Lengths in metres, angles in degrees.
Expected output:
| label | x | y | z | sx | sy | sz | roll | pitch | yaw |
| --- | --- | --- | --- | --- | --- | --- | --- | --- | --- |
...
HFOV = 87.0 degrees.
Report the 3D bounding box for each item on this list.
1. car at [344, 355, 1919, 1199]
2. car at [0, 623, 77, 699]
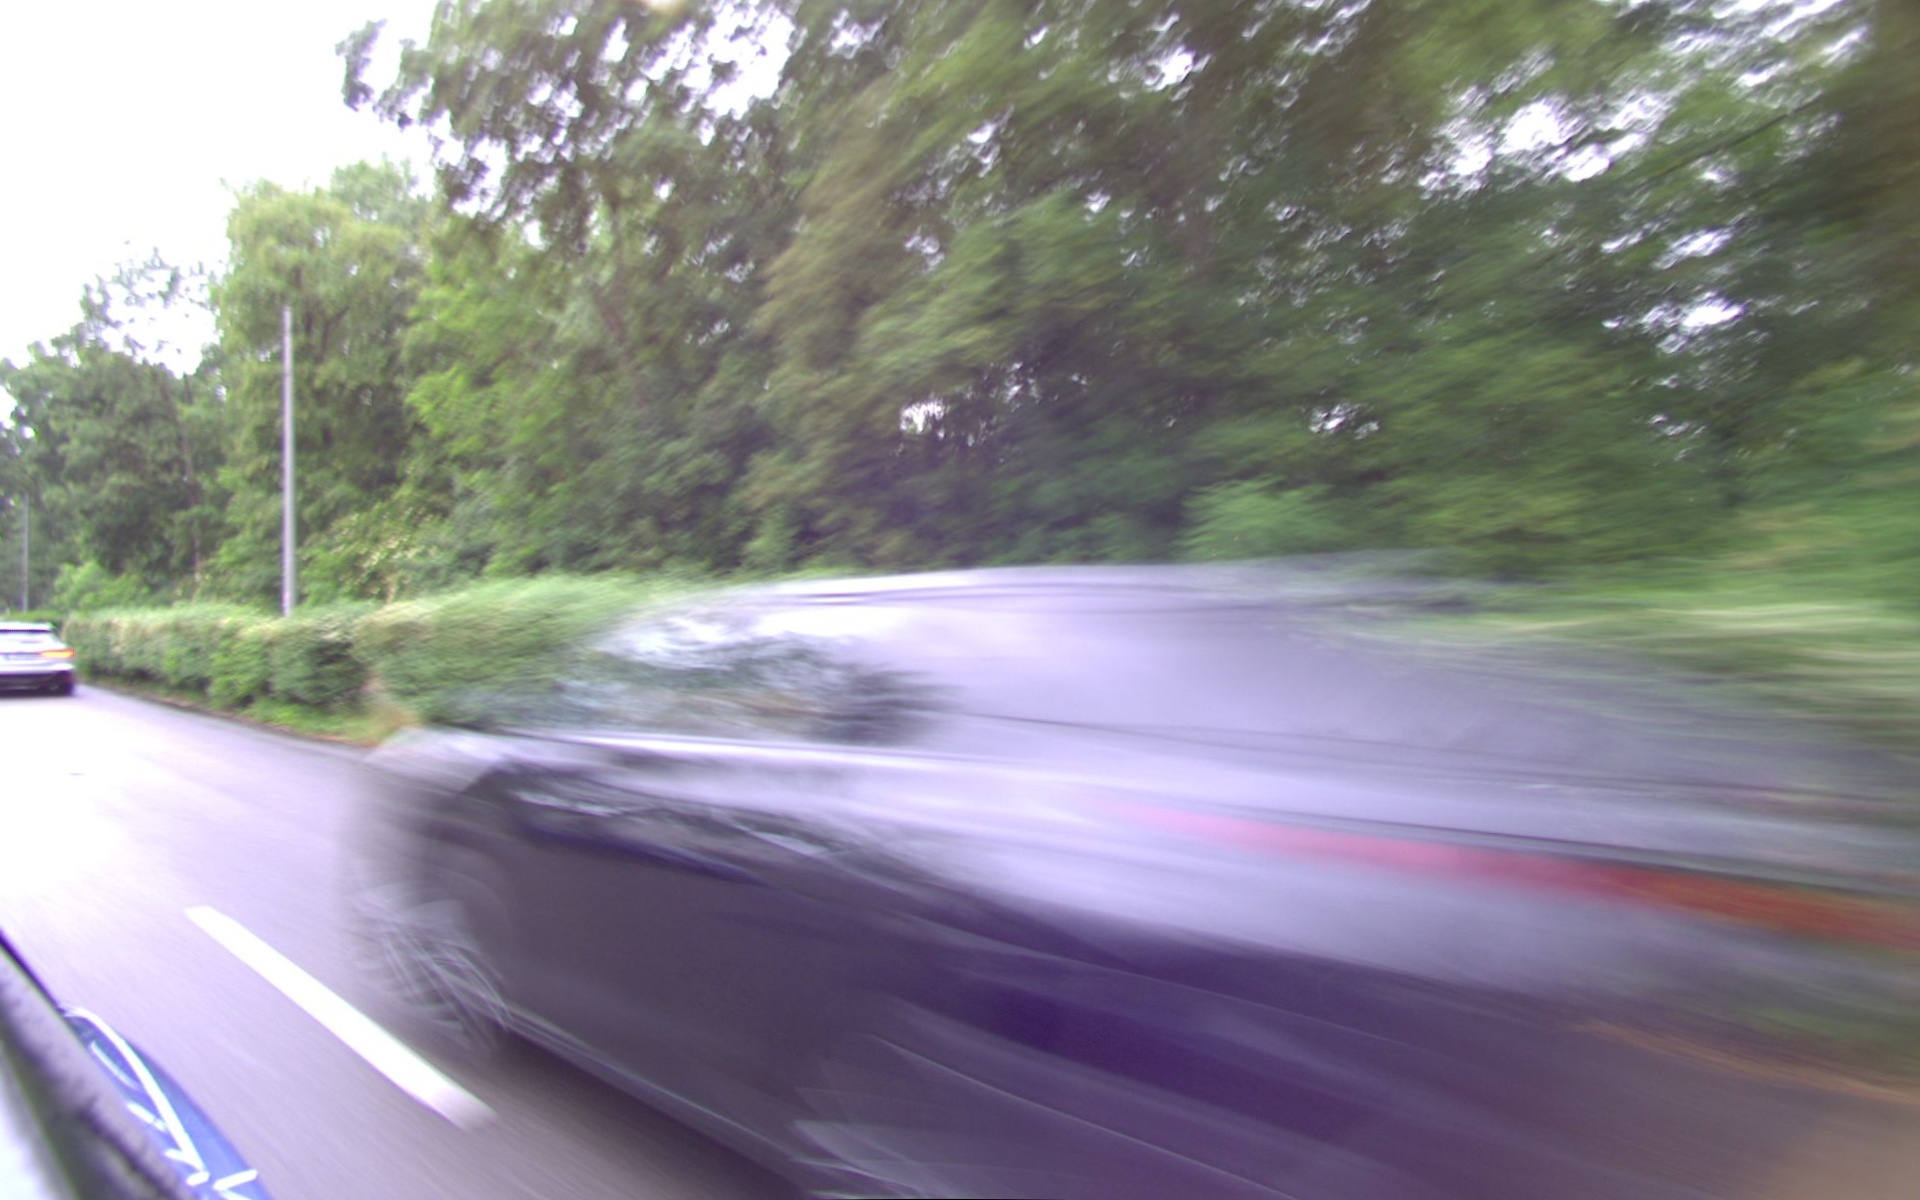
| label | x | y | z | sx | sy | sz | roll | pitch | yaw |
| --- | --- | --- | --- | --- | --- | --- | --- | --- | --- |
| car | -0.021 | 0.650 | 2.949 | 4.430 | 1.559 | 1.785 | -3 | -4 | 42 |
| car | -20.112 | 1.265 | 21.224 | 4.445 | 1.479 | 1.836 | -3 | -4 | 42 |
